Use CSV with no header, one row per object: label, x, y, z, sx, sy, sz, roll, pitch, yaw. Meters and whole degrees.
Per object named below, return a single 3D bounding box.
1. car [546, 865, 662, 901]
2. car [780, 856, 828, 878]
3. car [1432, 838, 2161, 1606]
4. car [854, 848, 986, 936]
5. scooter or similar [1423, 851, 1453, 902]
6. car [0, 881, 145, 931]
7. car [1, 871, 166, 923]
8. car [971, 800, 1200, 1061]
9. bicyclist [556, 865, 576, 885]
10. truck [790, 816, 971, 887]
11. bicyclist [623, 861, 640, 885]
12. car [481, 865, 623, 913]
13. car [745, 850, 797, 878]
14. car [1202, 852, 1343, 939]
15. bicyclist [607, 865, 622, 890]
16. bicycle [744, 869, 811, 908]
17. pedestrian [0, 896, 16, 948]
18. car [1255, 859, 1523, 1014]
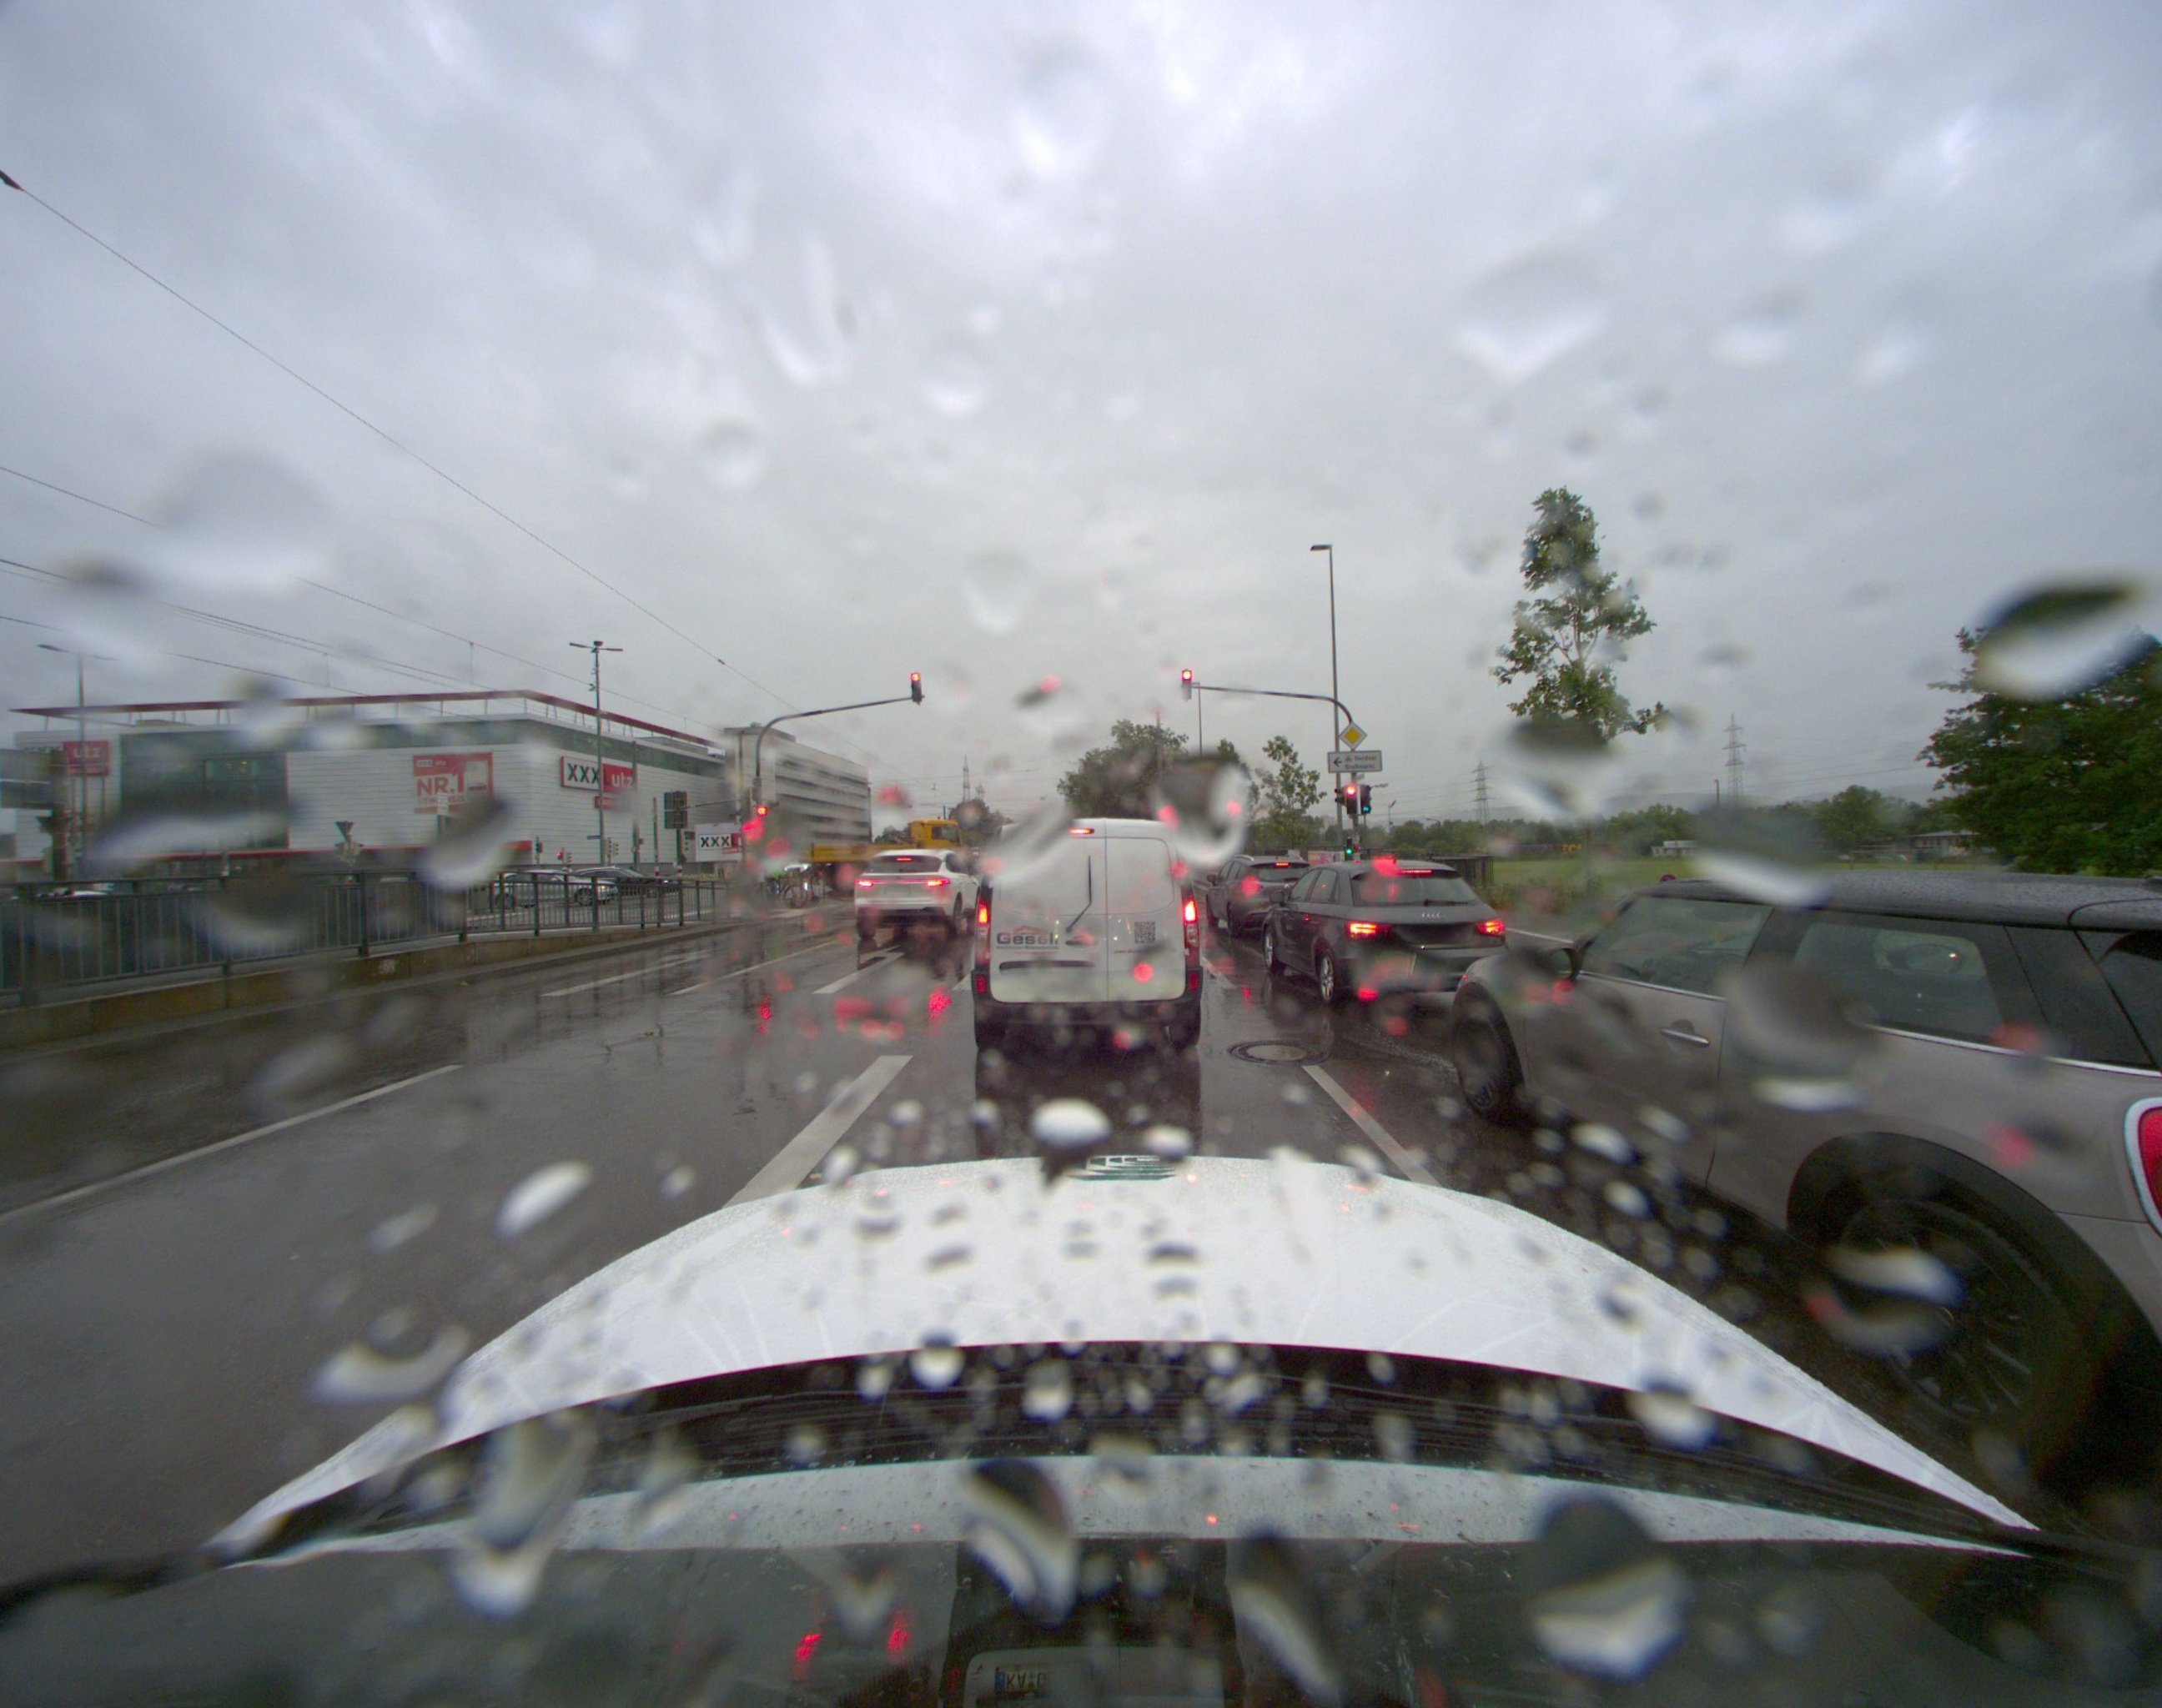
car,-19.773,1.184,33.905,3.735,1.410,1.832,0,-1,-13
car,-19.564,0.919,57.637,1.689,1.492,3.884,-1,-1,7
car,2.994,0.716,3.196,1.707,1.508,3.624,0,0,1
car,-3.049,0.645,16.337,1.723,1.535,4.298,0,0,1
scooter or similar,8.489,0.524,19.401,0.244,1.158,1.187,0,-1,3
car,-37.492,1.872,29.783,3.979,1.688,1.997,0,-1,-5
car,-40.610,1.728,33.234,4.298,2.014,2.001,0,-1,1
car,0.092,0.540,7.648,1.560,1.788,4.002,-1,0,2
bicyclist,-28.863,1.162,45.650,0.681,1.134,0.647,0,-1,3
truck,-8.621,-0.115,35.340,7.172,2.816,2.613,0,-1,-34
bicyclist,-27.345,1.153,49.527,0.681,1.464,0.647,0,-1,3
car,-19.428,1.256,30.084,4.072,1.660,1.612,0,-1,-15
car,-23.073,0.766,60.700,1.983,2.014,4.007,0,-1,6
car,3.485,0.691,15.529,1.853,1.428,3.808,0,0,1
bicyclist,-26.720,1.333,46.644,0.531,1.399,0.650,0,-1,-1
bicycle,-8.858,1.004,23.774,1.745,1.034,0.414,2,-1,0
pedestrian,-32.413,2.031,24.132,0.561,1.537,0.872,0,-1,1
car,3.095,0.737,8.967,1.623,1.344,3.624,0,0,1
